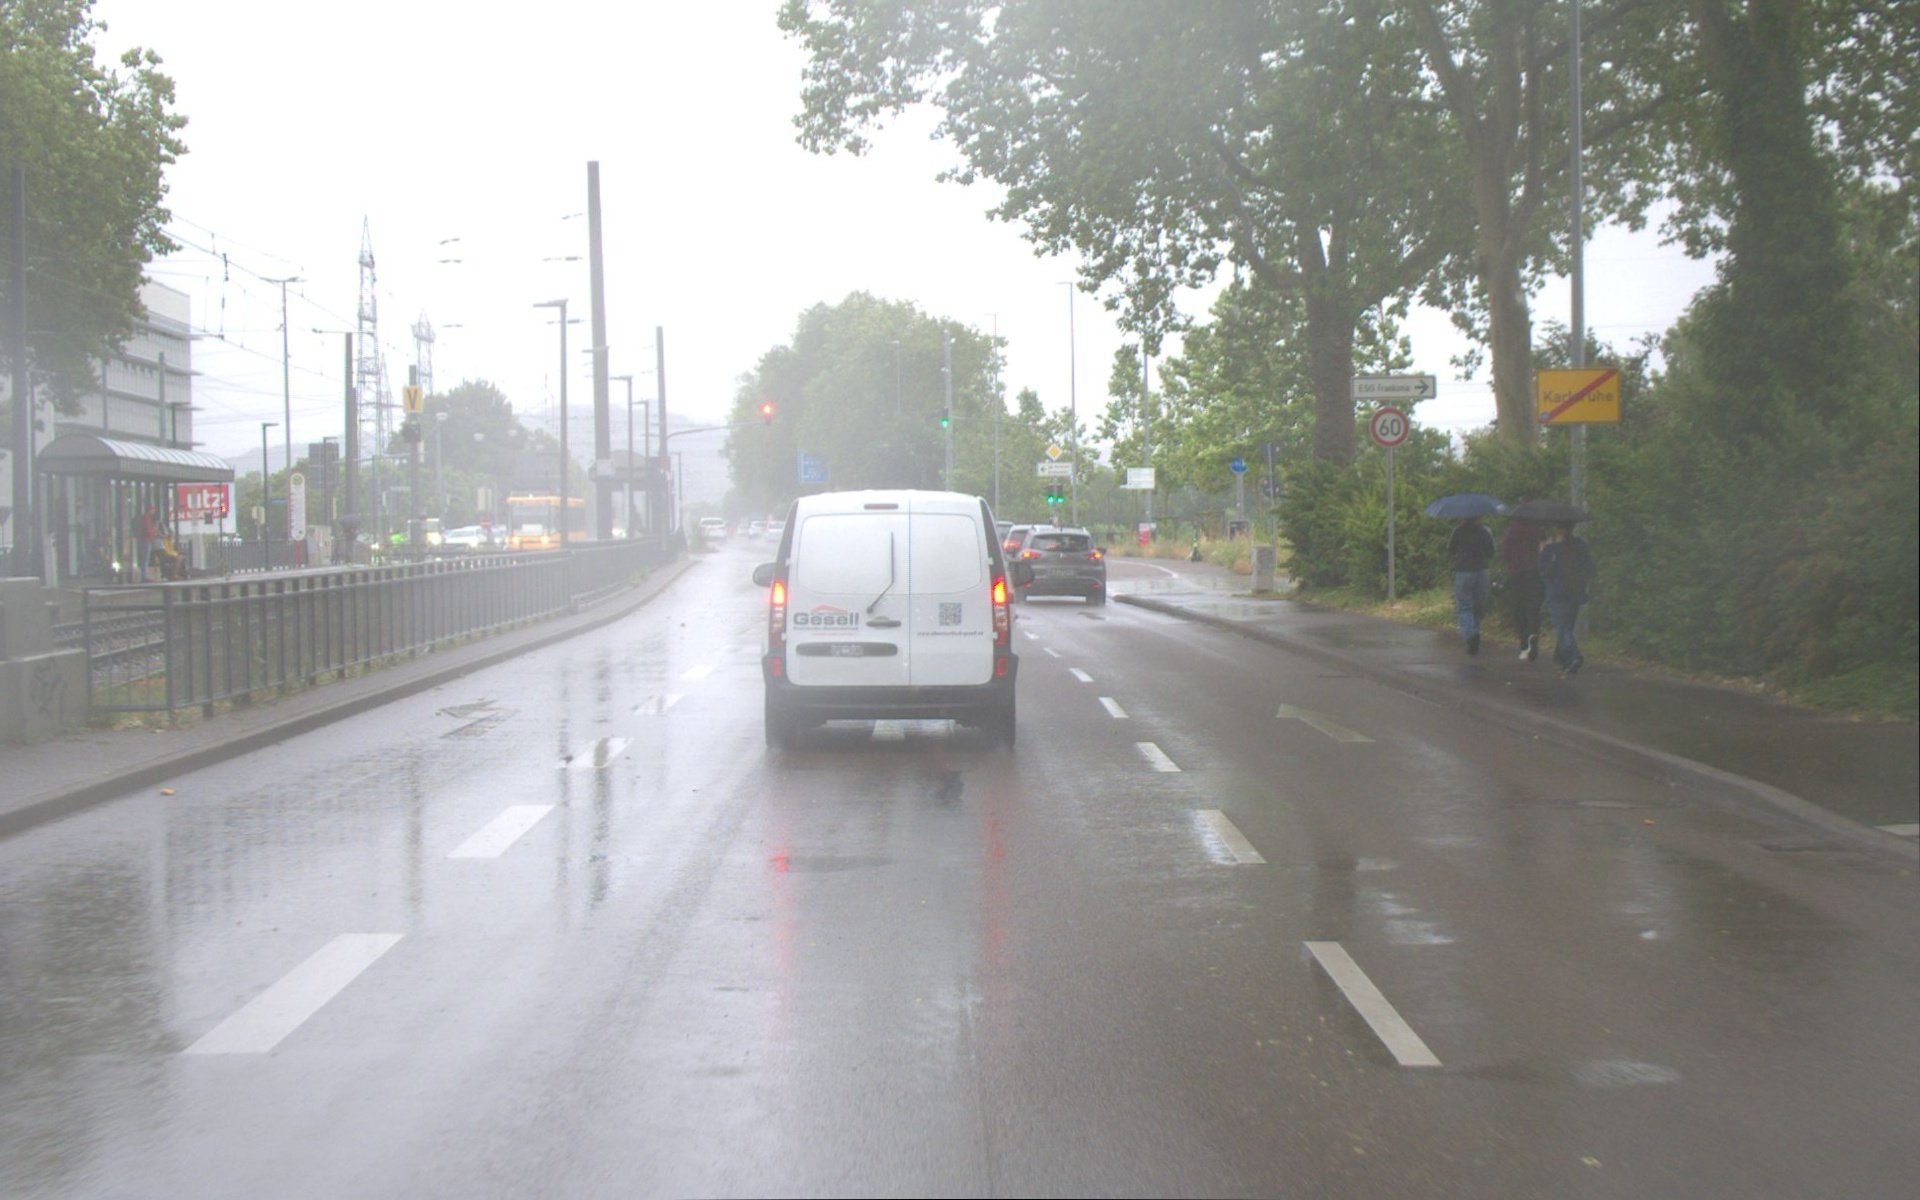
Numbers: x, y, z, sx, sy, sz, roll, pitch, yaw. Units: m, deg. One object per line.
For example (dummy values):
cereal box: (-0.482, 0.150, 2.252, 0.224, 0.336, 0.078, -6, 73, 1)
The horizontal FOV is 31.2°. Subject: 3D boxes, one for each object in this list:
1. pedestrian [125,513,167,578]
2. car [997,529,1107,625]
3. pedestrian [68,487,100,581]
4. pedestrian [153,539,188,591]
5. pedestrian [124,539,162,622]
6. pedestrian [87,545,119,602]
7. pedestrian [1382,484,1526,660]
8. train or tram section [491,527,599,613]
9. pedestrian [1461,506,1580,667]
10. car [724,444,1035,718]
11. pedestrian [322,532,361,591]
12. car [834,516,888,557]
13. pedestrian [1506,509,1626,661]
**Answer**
pedestrian: (-19.883, -1.322, 83.966, 0.825, 1.556, 0.673, 1, 0, -27)
car: (1.739, -0.428, 65.772, 1.993, 1.744, 4.000, 1, 0, 1)
pedestrian: (-19.024, -1.429, 74.677, 0.493, 2.007, 0.582, 1, 0, -1)
pedestrian: (-19.881, -0.874, 86.557, 0.643, 1.299, 0.814, 1, 0, 2)
pedestrian: (-19.227, -0.449, 80.886, 0.621, 1.926, 0.814, 1, 0, 2)
pedestrian: (-19.147, -0.590, 76.800, 0.493, 1.263, 0.664, 1, 0, 2)
pedestrian: (5.271, -0.295, 36.773, 1.240, 1.779, 1.147, -4, 0, -1)
train or tram section: (-21.322, -1.488, 178.407, 3.770, 4.023, 27.096, 1, 0, -3)
pedestrian: (5.657, -0.133, 34.749, 0.947, 1.583, 1.294, -1, 0, -1)
car: (-0.672, -0.128, 24.940, 2.024, 1.769, 4.275, 1, 0, -4)
pedestrian: (-21.410, -1.312, 119.032, 1.088, 2.007, 1.096, 1, 0, 1)
car: (-4.448, -2.838, 154.491, 1.993, 1.744, 4.001, 1, 0, -7)
pedestrian: (5.703, -0.139, 32.411, 0.892, 1.385, 1.016, -2, 0, -1)
